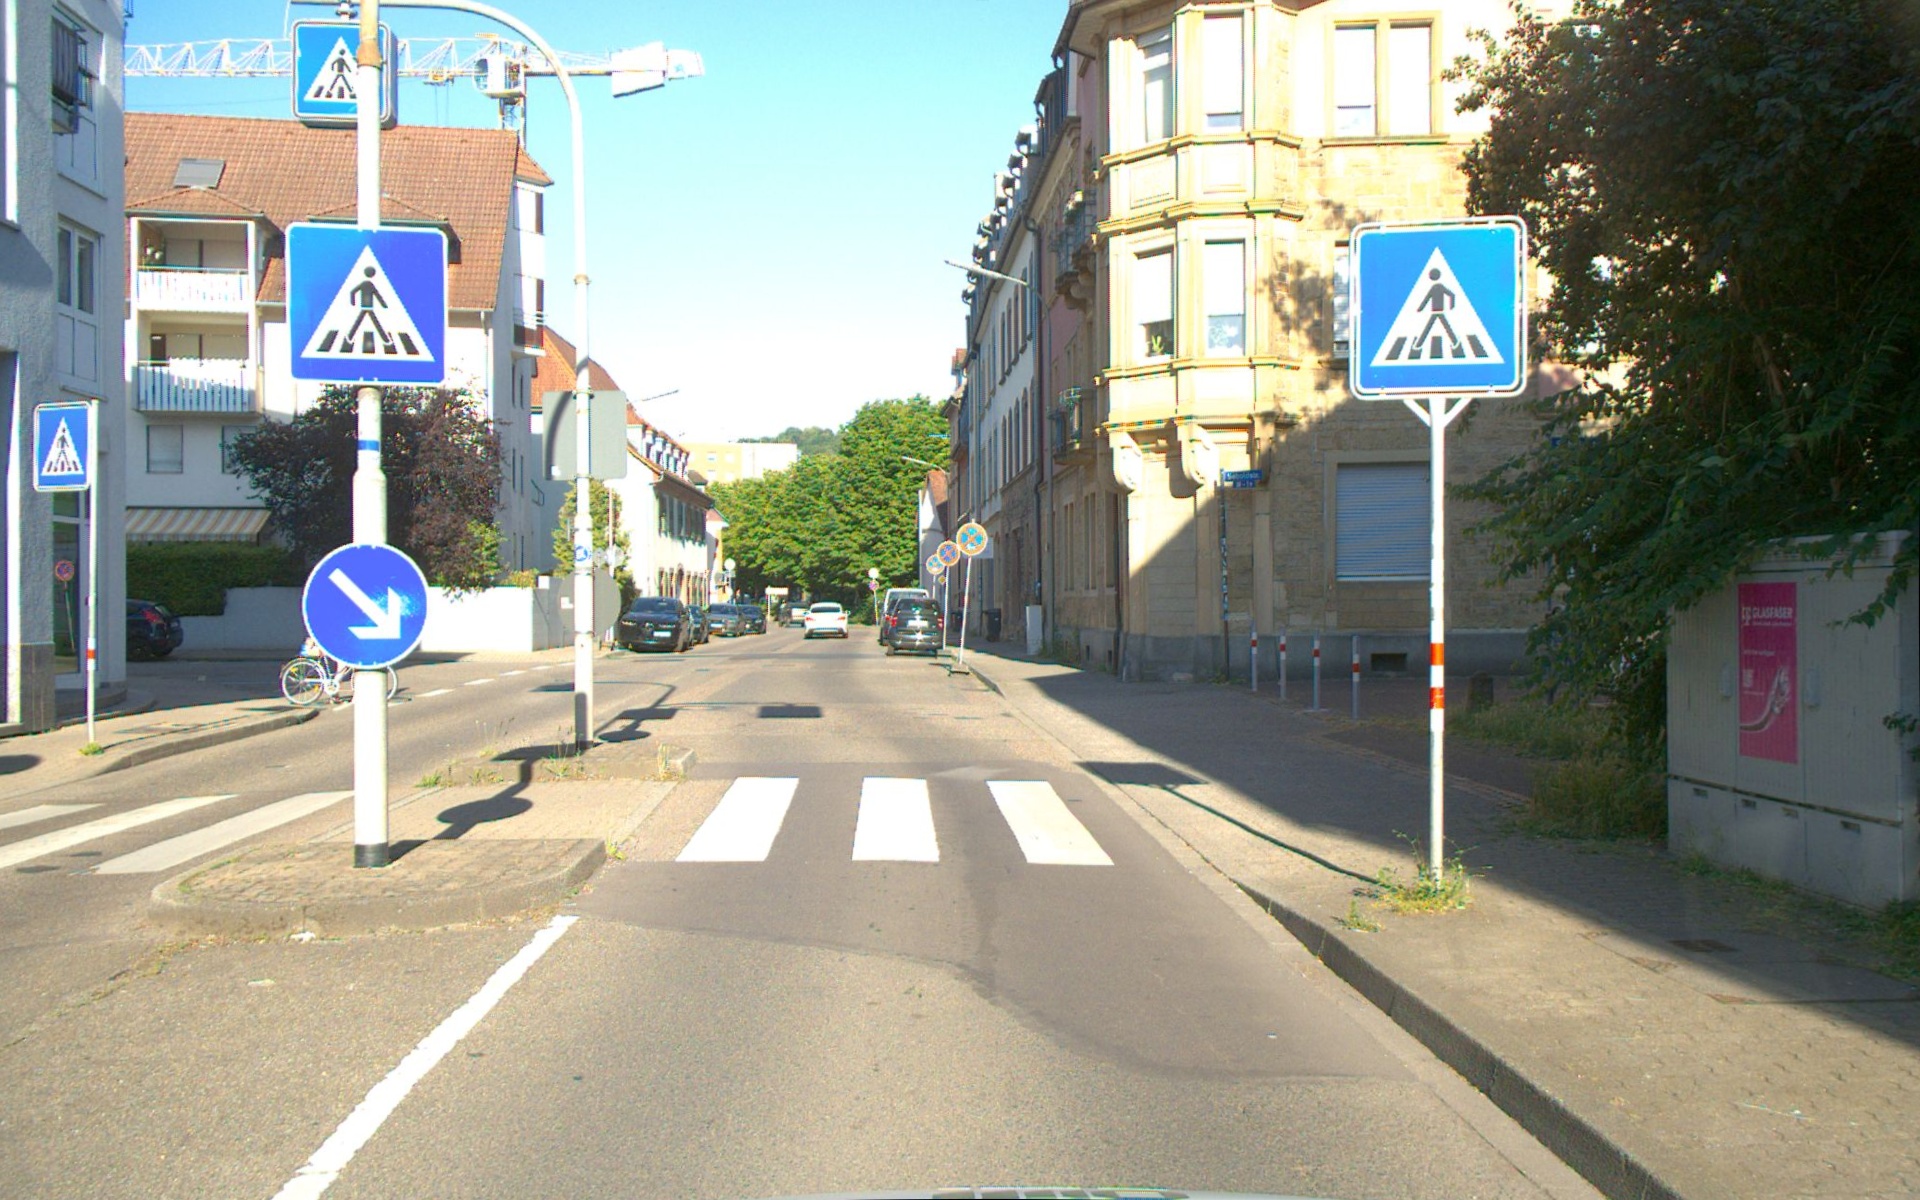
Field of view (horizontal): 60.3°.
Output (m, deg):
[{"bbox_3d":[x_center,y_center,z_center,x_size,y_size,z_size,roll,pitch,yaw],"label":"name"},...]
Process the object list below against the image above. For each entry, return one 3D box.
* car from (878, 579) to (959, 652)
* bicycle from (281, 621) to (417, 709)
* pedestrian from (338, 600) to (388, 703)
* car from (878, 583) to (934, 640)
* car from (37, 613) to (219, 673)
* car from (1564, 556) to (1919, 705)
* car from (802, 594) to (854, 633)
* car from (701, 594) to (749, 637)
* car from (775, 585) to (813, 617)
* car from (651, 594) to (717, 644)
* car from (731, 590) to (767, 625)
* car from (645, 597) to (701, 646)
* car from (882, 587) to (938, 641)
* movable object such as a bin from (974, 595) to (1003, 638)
[{"bbox_3d":[-1.182,0.372,45.000,1.972,1.885,3.996,0,1,-5],"label":"car"},{"bbox_3d":[-8.950,0.947,24.269,1.751,1.205,0.598,-1,0,-3],"label":"bicycle"},{"bbox_3d":[-8.890,0.756,24.660,0.546,1.498,0.600,-1,0,-7],"label":"pedestrian"},{"bbox_3d":[-2.028,0.395,61.256,1.805,1.939,3.996,-2,1,-5],"label":"car"},{"bbox_3d":[-19.746,1.000,39.353,3.474,1.201,1.614,-2,1,-8],"label":"car"},{"bbox_3d":[9.359,0.325,19.359,3.872,1.444,1.903,-3,1,4],"label":"car"},{"bbox_3d":[-5.381,0.510,67.105,1.955,1.492,3.995,-1,0,-6],"label":"car"},{"bbox_3d":[-10.766,0.699,75.988,1.873,1.790,4.124,-2,1,-5],"label":"car"},{"bbox_3d":[-11.130,0.072,110.545,1.960,2.049,3.986,-1,0,-14],"label":"car"},{"bbox_3d":[-10.260,0.689,61.647,2.052,1.659,3.818,-2,1,-5],"label":"car"},{"bbox_3d":[-10.818,0.350,84.916,1.599,1.659,3.171,-2,1,-5],"label":"car"},{"bbox_3d":[-9.639,0.709,55.729,1.523,1.483,3.058,-2,1,-5],"label":"car"},{"bbox_3d":[-1.690,0.453,56.349,1.781,1.659,3.999,-2,1,-1],"label":"car"},{"bbox_3d":[0.967,0.547,55.999,0.854,1.401,0.684,-3,1,-6],"label":"movable object such as a bin"}]
